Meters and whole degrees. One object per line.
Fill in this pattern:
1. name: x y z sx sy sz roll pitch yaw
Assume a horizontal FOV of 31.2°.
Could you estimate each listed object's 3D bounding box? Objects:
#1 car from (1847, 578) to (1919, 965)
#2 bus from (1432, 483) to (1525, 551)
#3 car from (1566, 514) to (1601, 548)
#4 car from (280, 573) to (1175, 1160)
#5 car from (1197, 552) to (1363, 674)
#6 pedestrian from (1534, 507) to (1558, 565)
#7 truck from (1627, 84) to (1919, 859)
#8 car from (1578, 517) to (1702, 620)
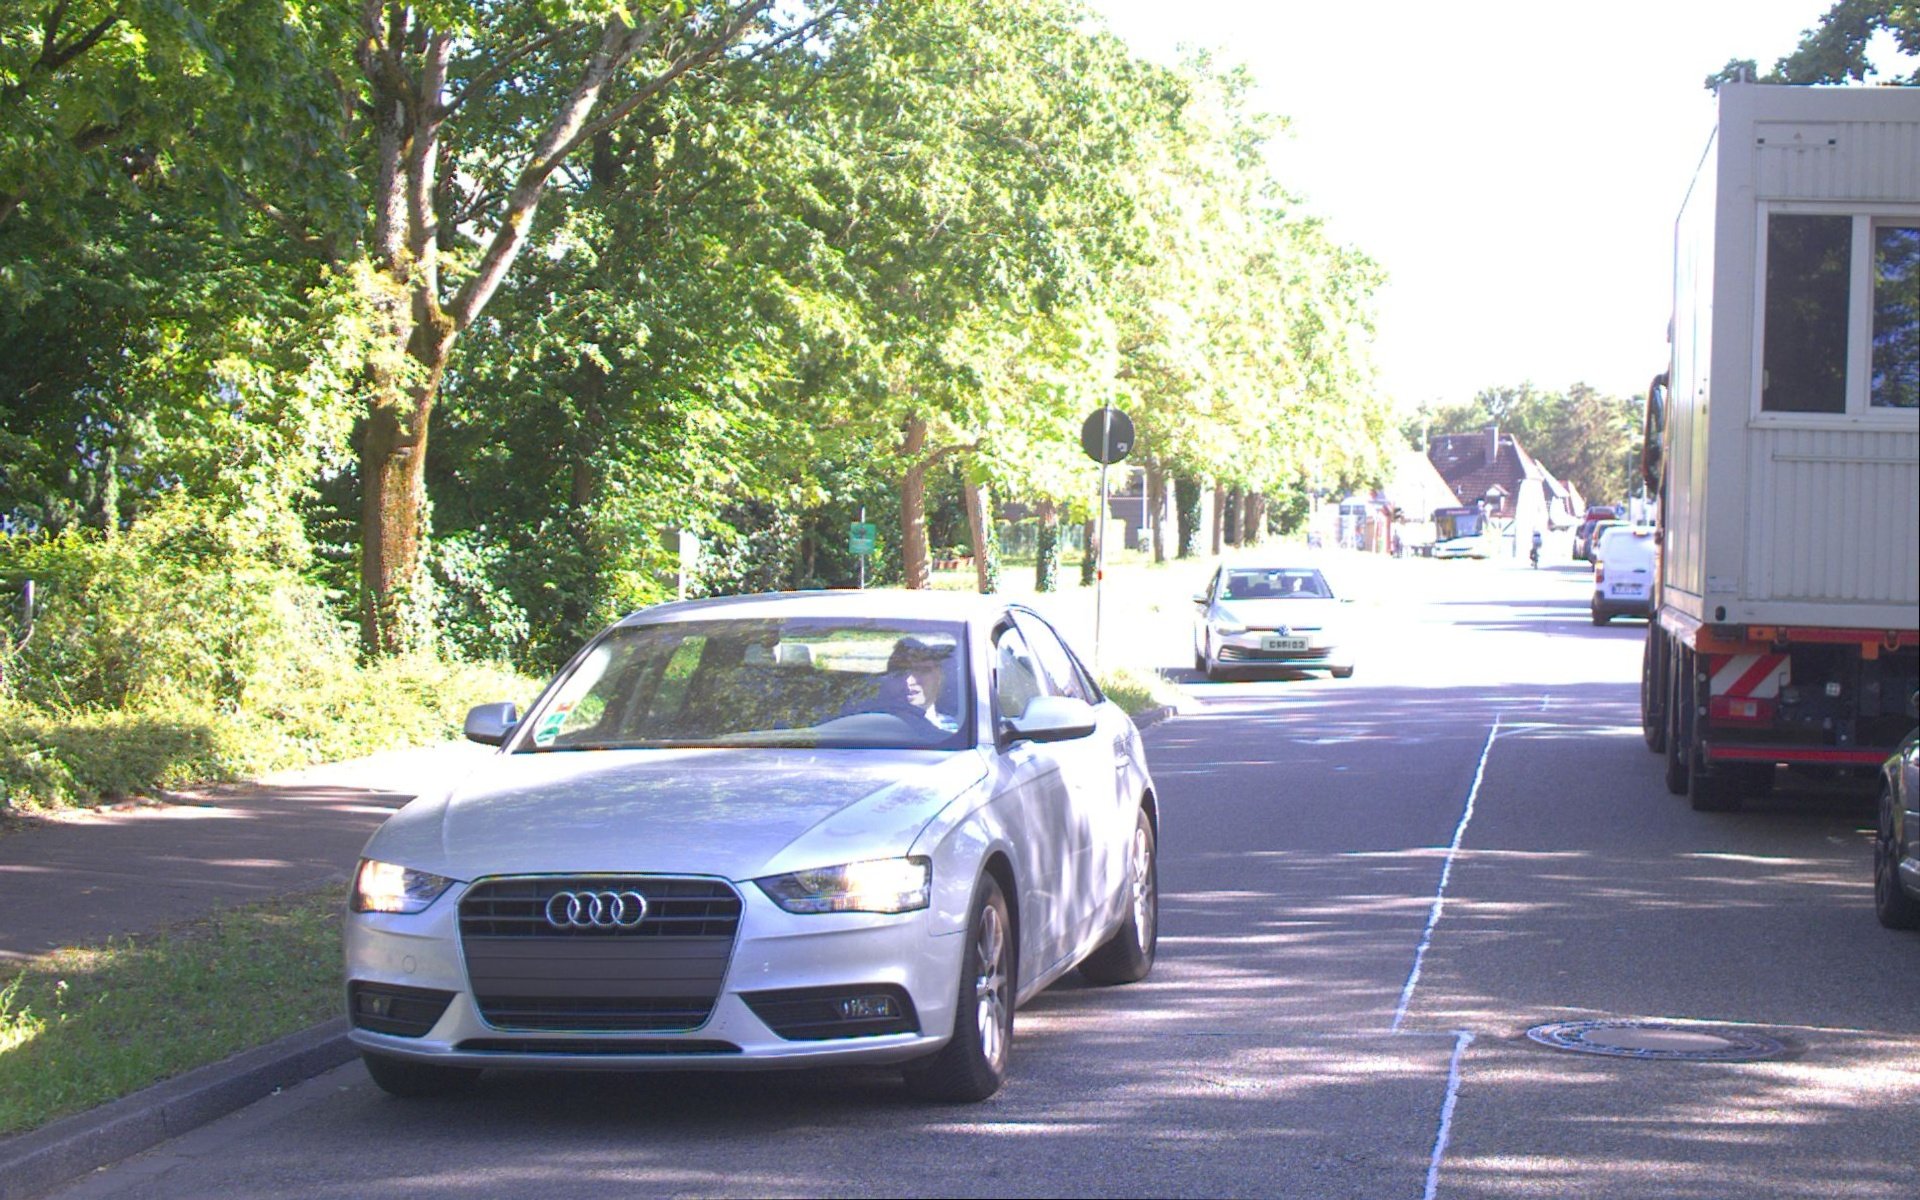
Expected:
1. car: 4.421 0.678 12.754 1.640 1.415 3.999 2 1 7
2. bus: 26.448 -4.210 174.916 4.067 3.337 9.795 0 1 12
3. car: 33.427 -3.707 184.337 1.782 1.802 3.999 0 1 9
4. car: -0.492 0.664 10.821 1.787 1.412 4.102 -1 1 11
5. car: 3.970 0.126 43.110 1.805 1.415 3.959 -1 1 2
6. pedestrian: 21.556 -2.341 126.408 0.753 2.106 0.798 3 1 13
7. truck: 6.066 -0.751 22.793 2.774 3.982 10.345 2 1 9
8. car: 12.724 -0.610 64.493 1.947 1.836 3.999 1 1 7
